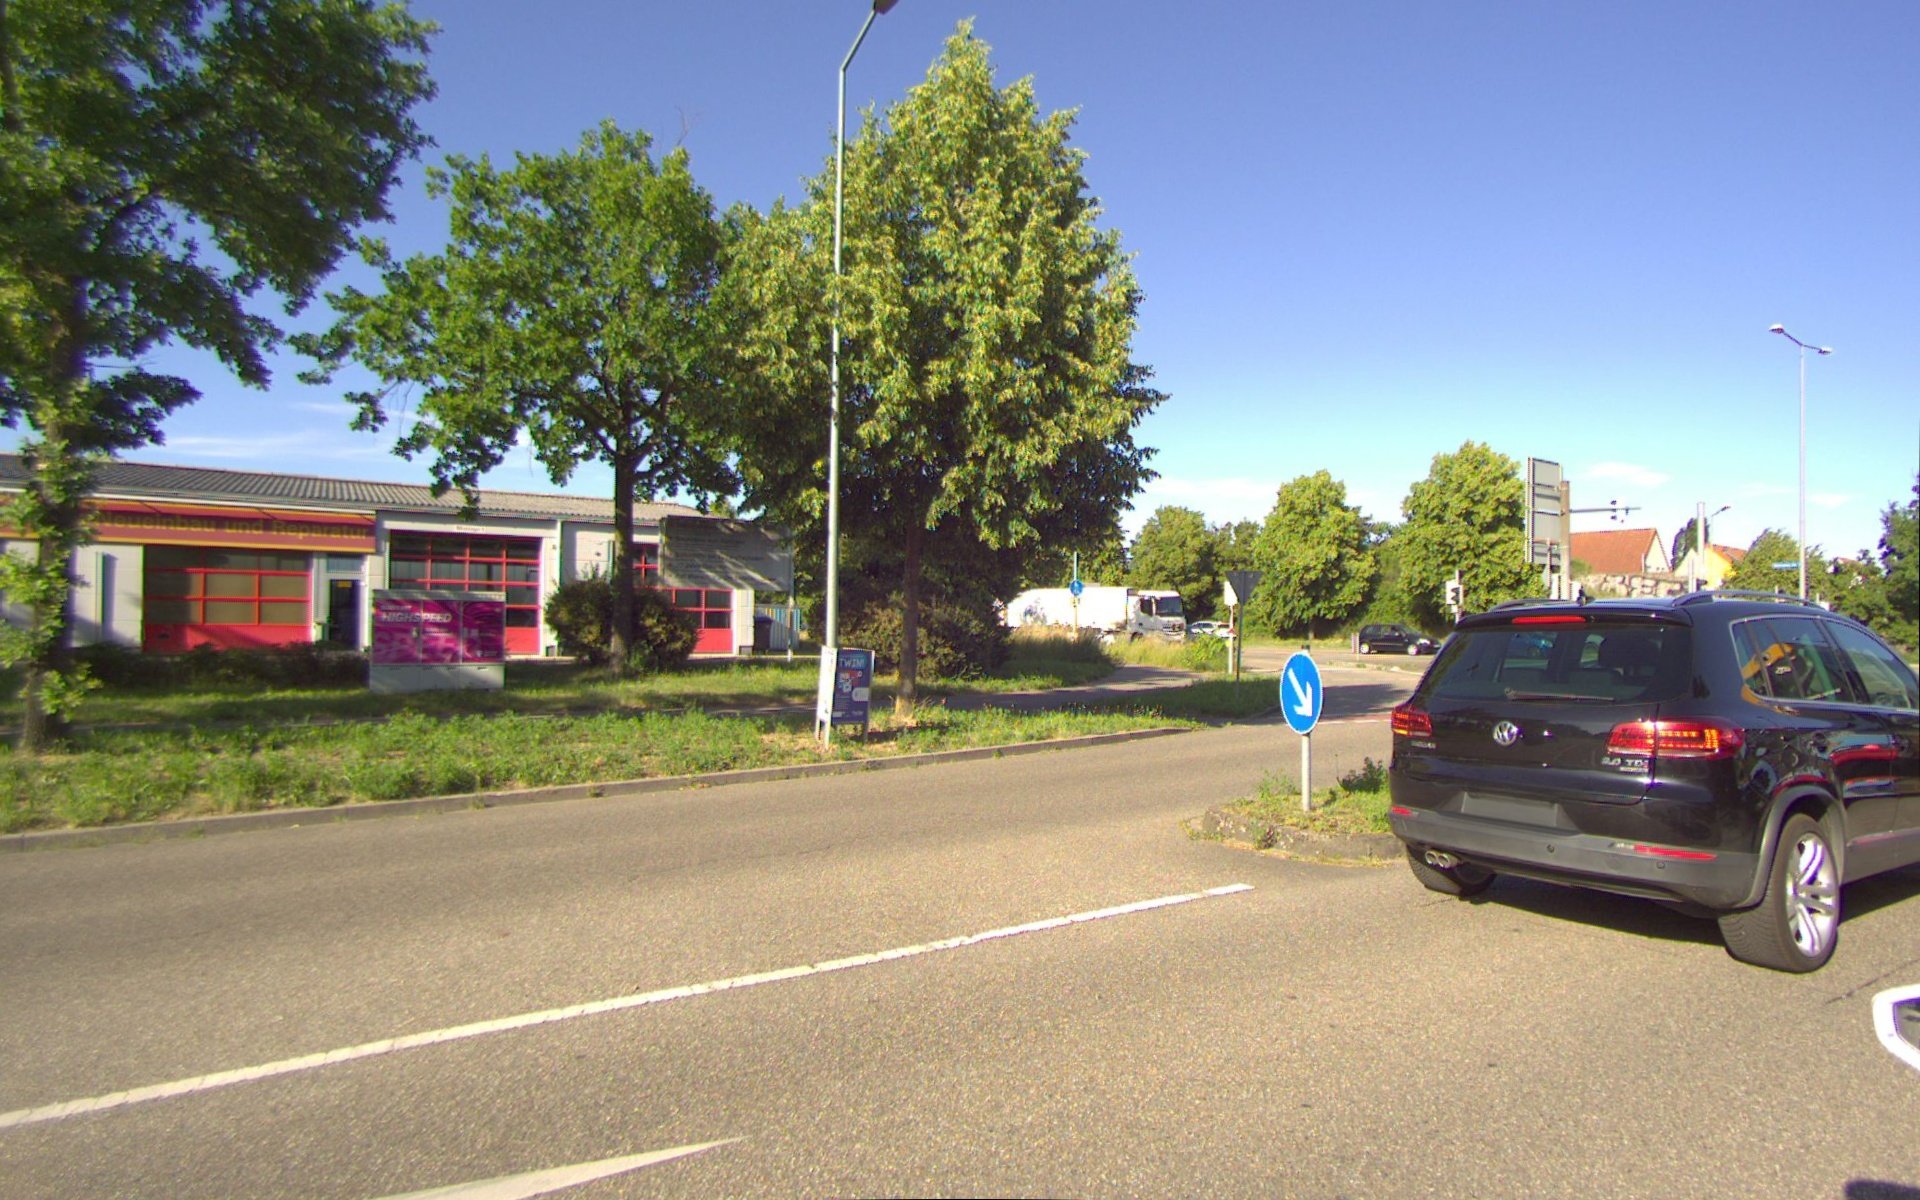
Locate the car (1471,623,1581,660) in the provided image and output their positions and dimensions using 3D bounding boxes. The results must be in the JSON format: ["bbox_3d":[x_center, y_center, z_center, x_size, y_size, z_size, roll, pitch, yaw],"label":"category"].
[{"bbox_3d":[24.496,1.776,43.602,1.668,1.403,3.817,2,-1,-38],"label":"car"}]

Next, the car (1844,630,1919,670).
[{"bbox_3d":[40.122,2.091,42.379,1.678,1.633,3.961,1,-1,-35],"label":"car"}]

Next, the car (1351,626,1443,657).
[{"bbox_3d":[20.851,1.965,48.050,1.494,1.330,3.817,2,-1,-38],"label":"car"}]

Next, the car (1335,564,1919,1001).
[{"bbox_3d":[4.199,0.807,5.723,3.957,1.695,1.812,2,-3,-31],"label":"car"}]

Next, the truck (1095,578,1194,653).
[{"bbox_3d":[9.637,0.798,52.785,2.390,3.744,4.763,1,-1,-39],"label":"truck"}]

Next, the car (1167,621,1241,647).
[{"bbox_3d":[15.846,2.192,65.434,1.979,1.560,4.675,1,-1,-33],"label":"car"}]

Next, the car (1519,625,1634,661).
[{"bbox_3d":[29.034,1.992,47.433,1.561,1.479,4.379,2,-1,-38],"label":"car"}]

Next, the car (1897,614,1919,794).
[{"bbox_3d":[10.812,0.933,9.543,3.986,1.642,1.745,0,0,-31],"label":"car"}]

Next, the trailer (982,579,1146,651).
[{"bbox_3d":[5.688,0.866,57.991,2.373,3.745,11.393,1,-1,-37],"label":"trailer"}]

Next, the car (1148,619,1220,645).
[{"bbox_3d":[12.194,1.749,54.856,1.494,1.330,3.817,2,-2,-38],"label":"car"}]
